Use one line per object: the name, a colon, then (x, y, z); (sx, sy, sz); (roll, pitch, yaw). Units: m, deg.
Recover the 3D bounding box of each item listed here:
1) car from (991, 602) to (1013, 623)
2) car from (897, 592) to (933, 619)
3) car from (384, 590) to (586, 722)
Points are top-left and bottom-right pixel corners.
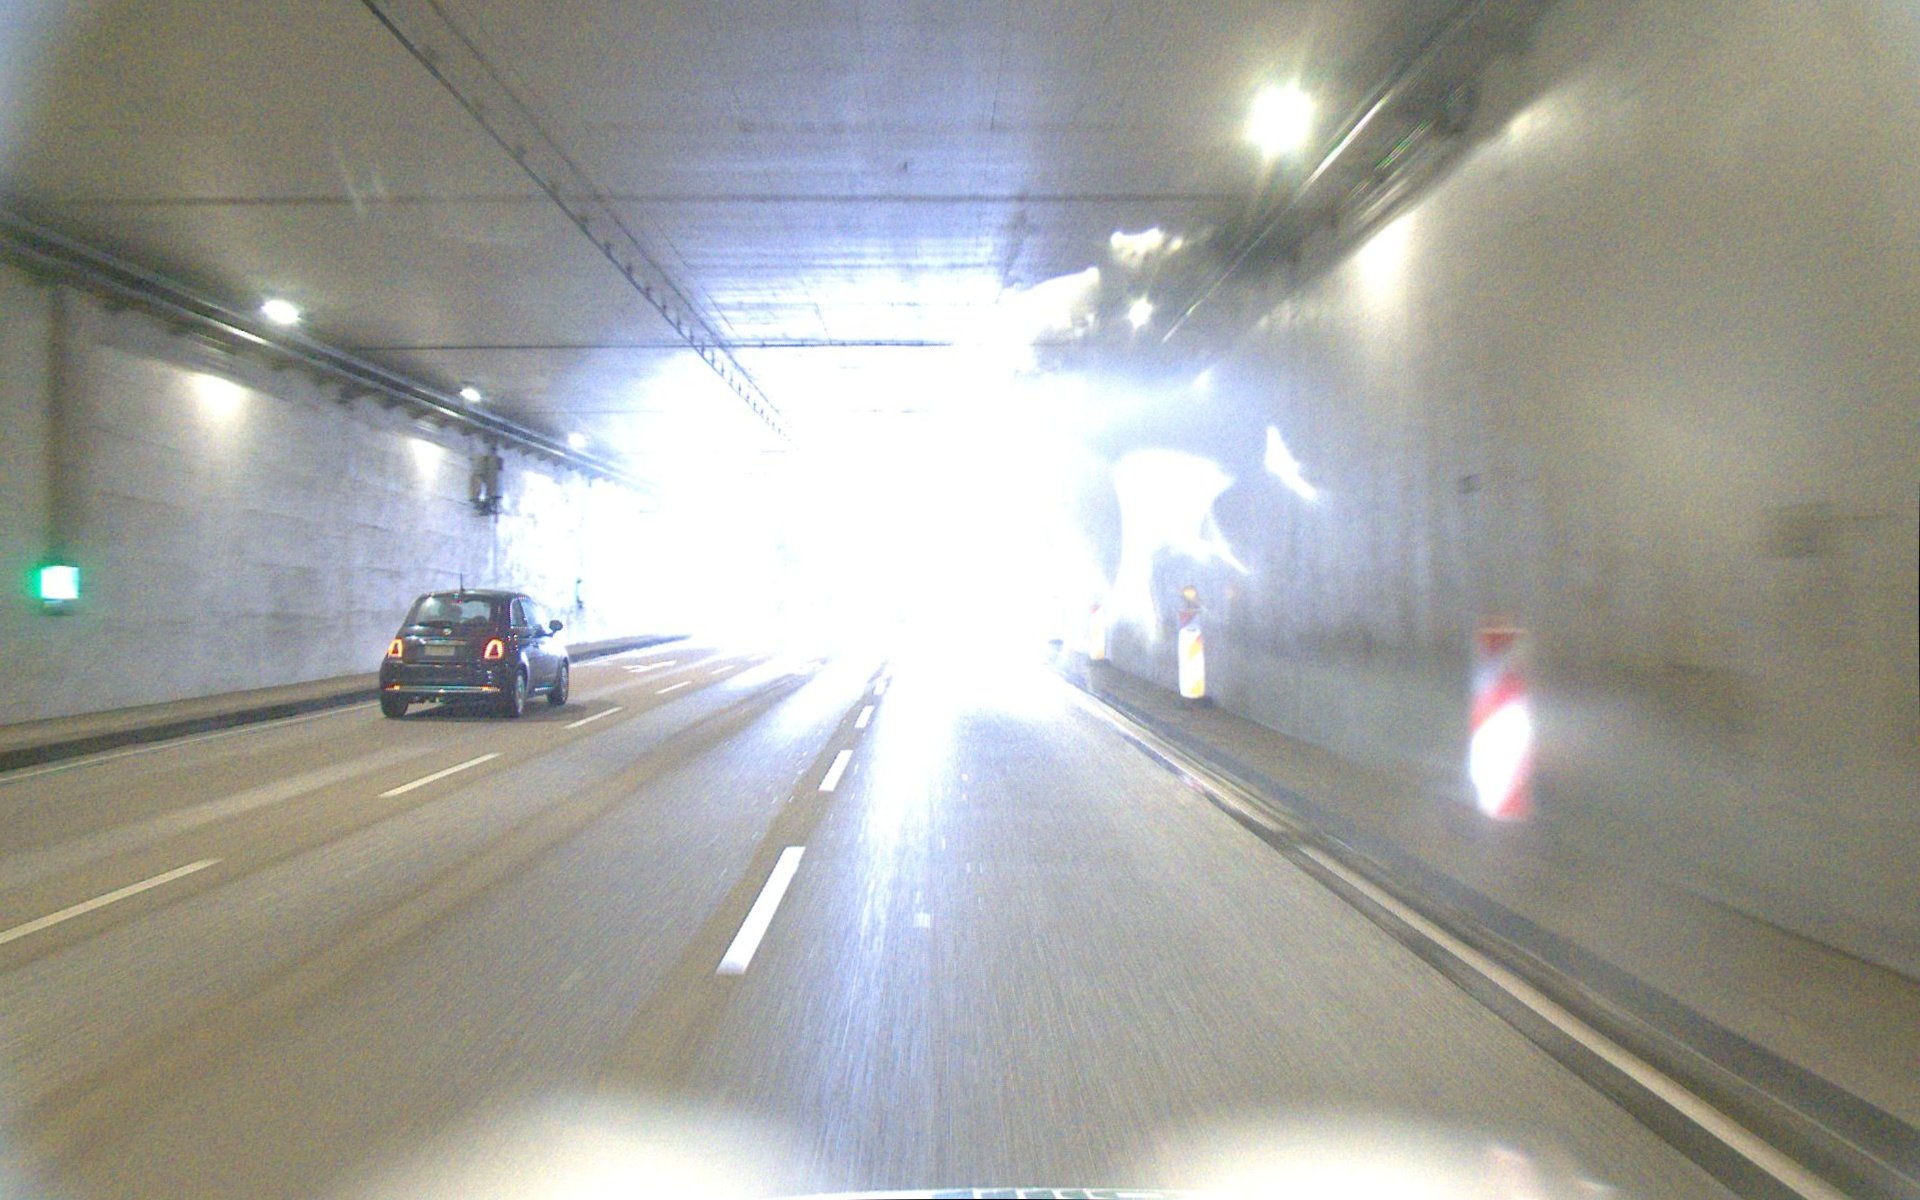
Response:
car: (4.151, 1.282, 163.942); (1.953, 2.049, 3.999); (0, -1, -1)
car: (-2.571, 0.324, 93.624); (1.954, 1.473, 4.311); (0, -1, -3)
car: (-5.788, 0.625, 20.542); (1.580, 1.480, 3.571); (-1, 0, -2)
